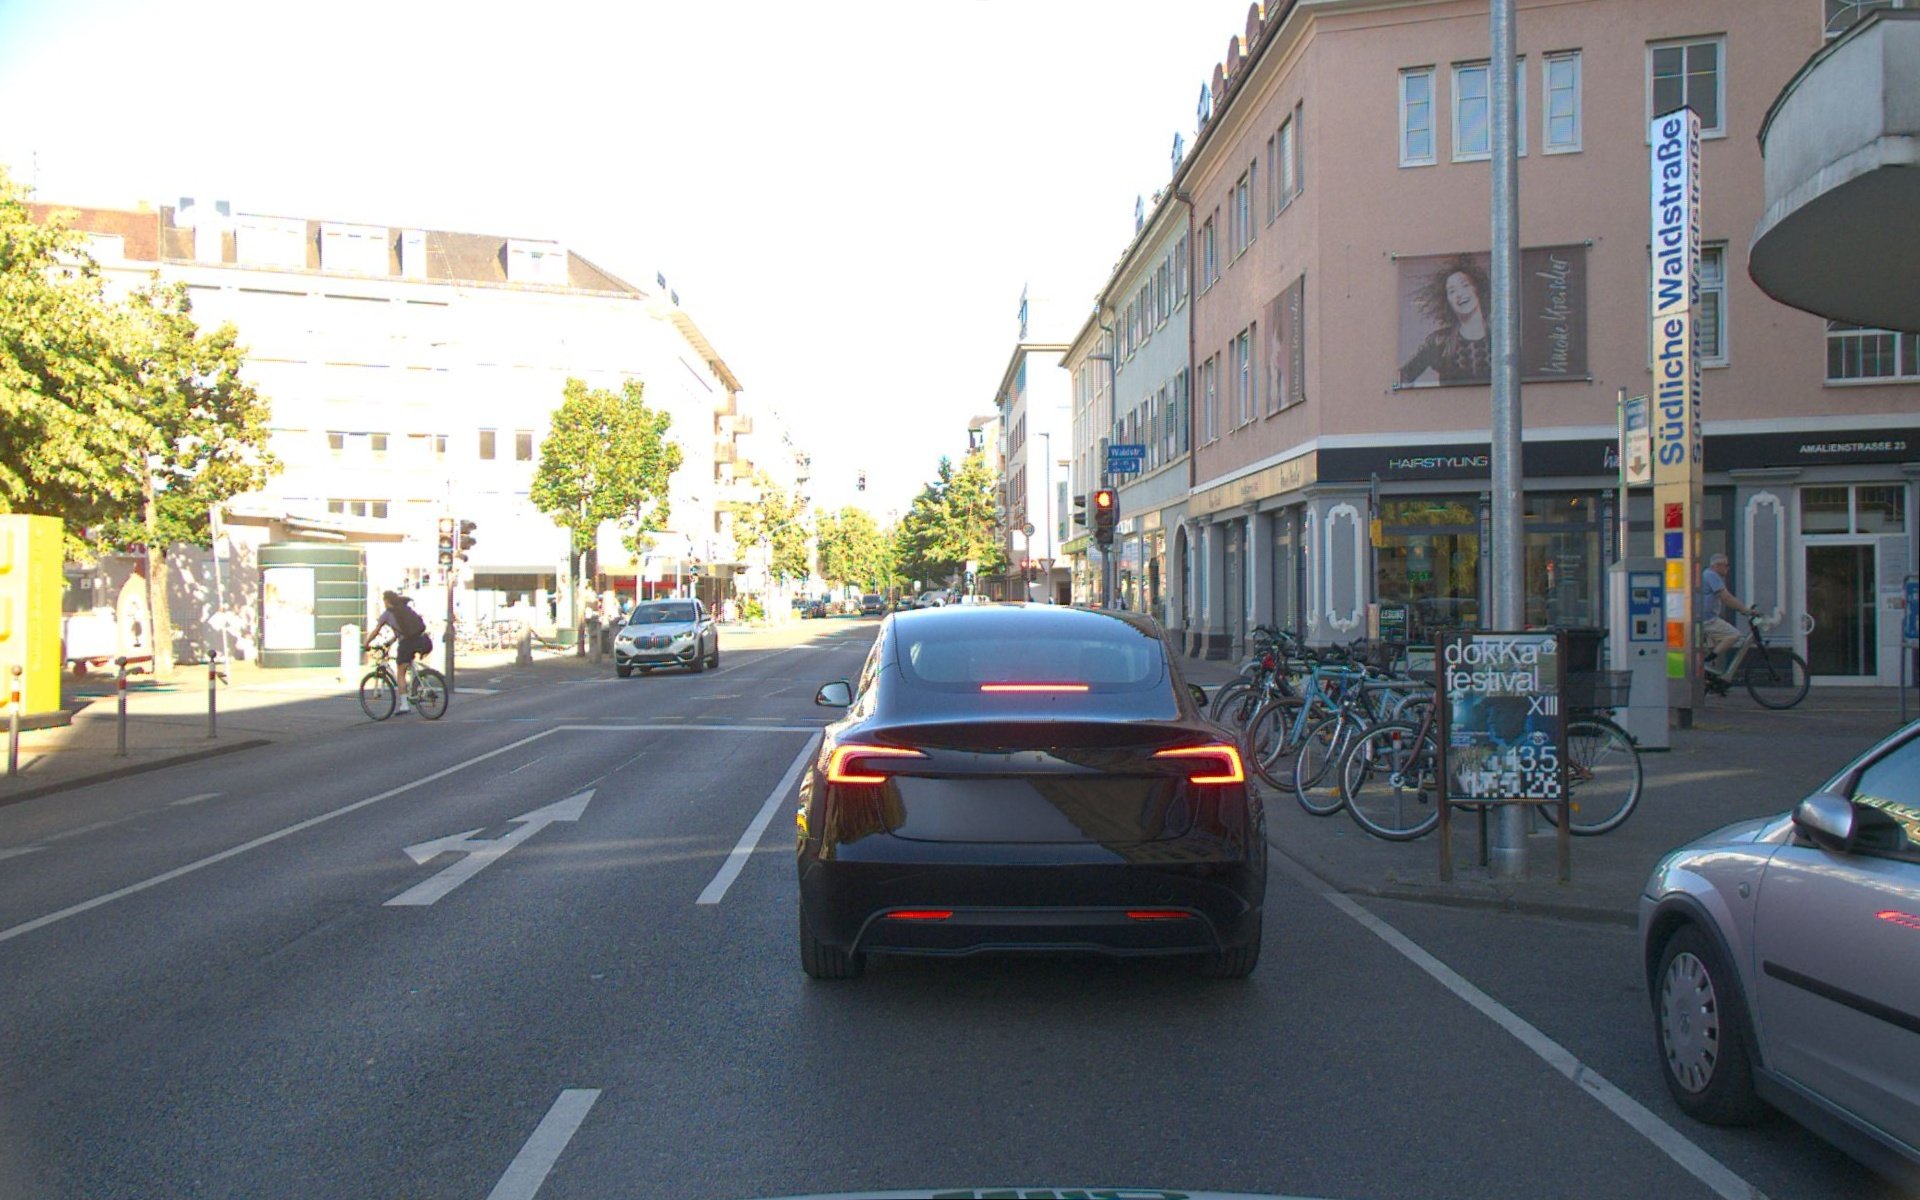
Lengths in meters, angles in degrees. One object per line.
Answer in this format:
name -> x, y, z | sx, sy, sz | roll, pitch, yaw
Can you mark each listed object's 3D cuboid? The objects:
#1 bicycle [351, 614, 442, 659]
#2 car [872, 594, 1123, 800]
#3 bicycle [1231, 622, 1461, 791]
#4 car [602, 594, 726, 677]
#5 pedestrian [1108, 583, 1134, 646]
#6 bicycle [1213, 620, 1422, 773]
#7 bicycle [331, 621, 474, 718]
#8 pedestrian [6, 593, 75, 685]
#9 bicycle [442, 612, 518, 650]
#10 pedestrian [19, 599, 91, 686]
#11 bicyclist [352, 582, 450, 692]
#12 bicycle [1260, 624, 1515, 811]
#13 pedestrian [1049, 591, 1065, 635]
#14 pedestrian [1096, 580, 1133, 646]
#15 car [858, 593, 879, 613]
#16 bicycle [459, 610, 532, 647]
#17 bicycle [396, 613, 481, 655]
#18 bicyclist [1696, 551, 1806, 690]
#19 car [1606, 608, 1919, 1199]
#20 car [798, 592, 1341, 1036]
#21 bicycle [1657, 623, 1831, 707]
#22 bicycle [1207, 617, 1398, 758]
bicycle -> -14.456, 0.926, 42.456 | 2.040, 1.123, 0.806 | 0, 0, -1
car -> 0.271, 0.698, 13.828 | 1.812, 1.480, 3.786 | 0, 0, 0
bicycle -> 2.890, 0.788, 12.444 | 1.595, 1.180, 0.432 | -2, 0, -2
car -> -6.352, 0.721, 35.954 | 1.953, 1.567, 3.999 | -3, 0, -1
pedestrian -> 4.605, 0.411, 47.409 | 0.689, 1.814, 0.533 | 0, 0, -1
bicycle -> 2.936, 0.785, 13.627 | 1.595, 1.180, 0.432 | -2, 0, -2
bicycle -> -7.593, 0.931, 22.551 | 1.731, 1.254, 0.799 | 0, 0, 20
pedestrian -> -17.708, 0.738, 31.864 | 0.882, 1.755, 0.744 | 0, 0, 3
bicycle -> -14.433, 0.932, 49.751 | 2.040, 1.123, 0.806 | 0, 0, -1
pedestrian -> -17.488, 0.810, 31.963 | 0.966, 1.665, 0.737 | 0, 0, 3
bicyclist -> -7.618, 0.492, 22.556 | 0.984, 1.460, 0.799 | 0, 0, 20
bicycle -> 2.891, 0.786, 11.241 | 1.595, 1.180, 0.432 | -2, 0, -2
pedestrian -> 3.776, 0.500, 64.454 | 0.559, 1.720, 0.387 | 0, 0, -1
pedestrian -> 4.410, 0.373, 47.344 | 0.979, 1.883, 0.615 | 0, 0, -1
car -> -7.911, 0.258, 143.374 | 1.793, 1.754, 3.998 | 0, 0, -2
bicycle -> -14.576, 0.891, 51.943 | 2.040, 1.123, 0.806 | 0, 0, -1
bicycle -> -14.163, 0.915, 44.981 | 2.040, 1.123, 0.806 | 0, 0, -1
bicyclist -> 9.762, 0.244, 20.439 | 1.096, 1.683, 0.629 | 0, 0, 10
car -> 2.923, 0.743, 3.509 | 1.588, 1.419, 3.886 | 0, 0, 0
car -> 0.368, 0.713, 7.417 | 1.812, 1.480, 3.786 | 0, 0, 0
bicycle -> 9.673, 0.793, 20.458 | 1.823, 0.962, 0.629 | 1, 0, 10
bicycle -> 3.054, 0.772, 14.805 | 1.594, 1.180, 0.433 | -2, 0, 0
